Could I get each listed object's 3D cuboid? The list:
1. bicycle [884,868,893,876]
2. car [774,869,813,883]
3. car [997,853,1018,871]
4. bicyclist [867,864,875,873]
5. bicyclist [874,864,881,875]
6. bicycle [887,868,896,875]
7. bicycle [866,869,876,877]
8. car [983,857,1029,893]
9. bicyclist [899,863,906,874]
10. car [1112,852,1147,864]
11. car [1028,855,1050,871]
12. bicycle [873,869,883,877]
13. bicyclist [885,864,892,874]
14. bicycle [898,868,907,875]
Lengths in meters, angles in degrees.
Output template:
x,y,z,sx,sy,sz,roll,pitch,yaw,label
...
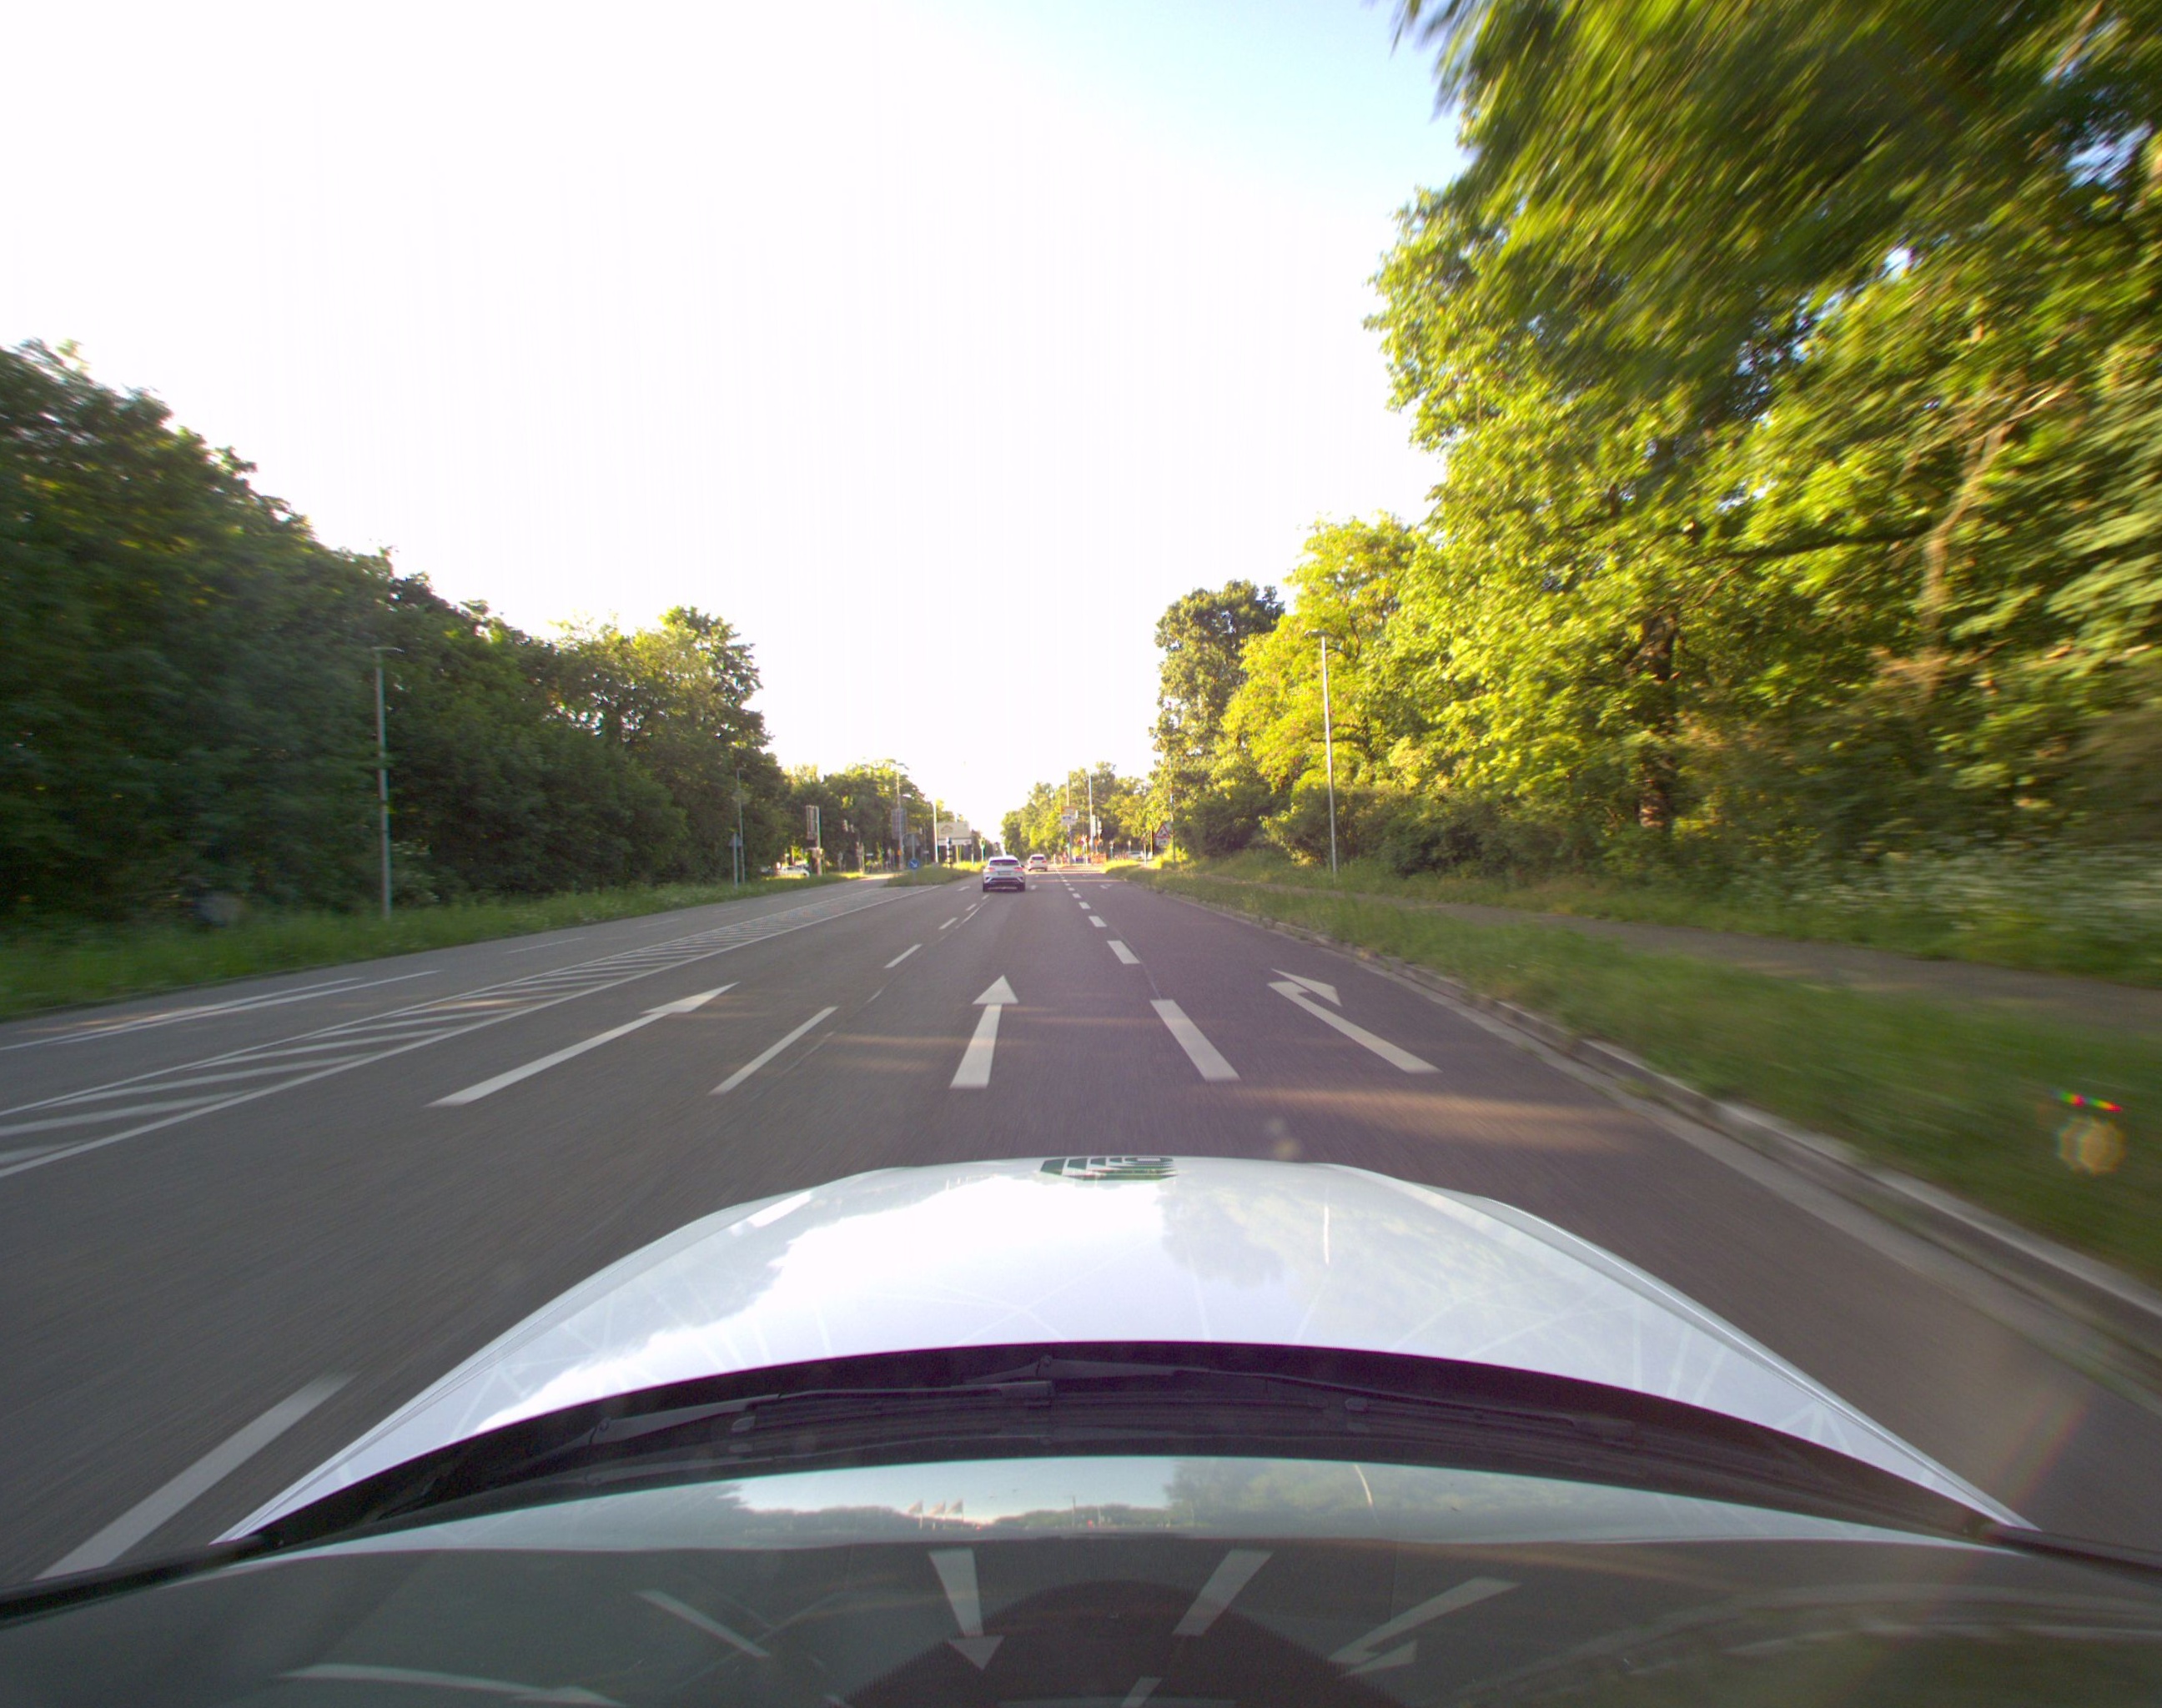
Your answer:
x,y,z,sx,sy,sz,roll,pitch,yaw,label
-25.985,2.431,109.954,0.712,0.914,1.910,-2,0,0,bicycle
-32.612,2.451,92.404,3.810,1.389,1.910,-2,0,-29,car
-7.763,0.843,85.543,1.992,1.684,3.990,-3,0,-7,car
-28.126,1.960,109.061,0.712,1.192,0.990,-2,0,0,bicyclist
-27.215,2.039,109.006,0.708,1.389,0.990,-2,0,0,bicyclist
-26.019,2.431,112.045,0.712,0.914,1.910,-2,0,0,bicycle
-28.099,2.552,109.057,0.712,0.914,1.911,-2,1,0,bicycle
-3.261,0.884,35.995,1.859,1.444,3.995,-2,0,-3,car
-24.124,1.950,110.061,0.712,1.339,0.990,-2,0,0,bicyclist
7.297,0.595,121.938,4.841,1.580,1.983,-2,0,-25,car
-3.887,0.833,76.203,1.935,1.414,3.996,-3,0,-2,car
-27.191,2.520,109.038,0.712,0.914,1.910,-2,0,0,bicycle
-26.002,1.997,109.953,0.712,1.355,0.990,-2,0,0,bicyclist
-24.111,2.343,110.000,0.712,0.914,1.910,-2,0,0,bicycle
